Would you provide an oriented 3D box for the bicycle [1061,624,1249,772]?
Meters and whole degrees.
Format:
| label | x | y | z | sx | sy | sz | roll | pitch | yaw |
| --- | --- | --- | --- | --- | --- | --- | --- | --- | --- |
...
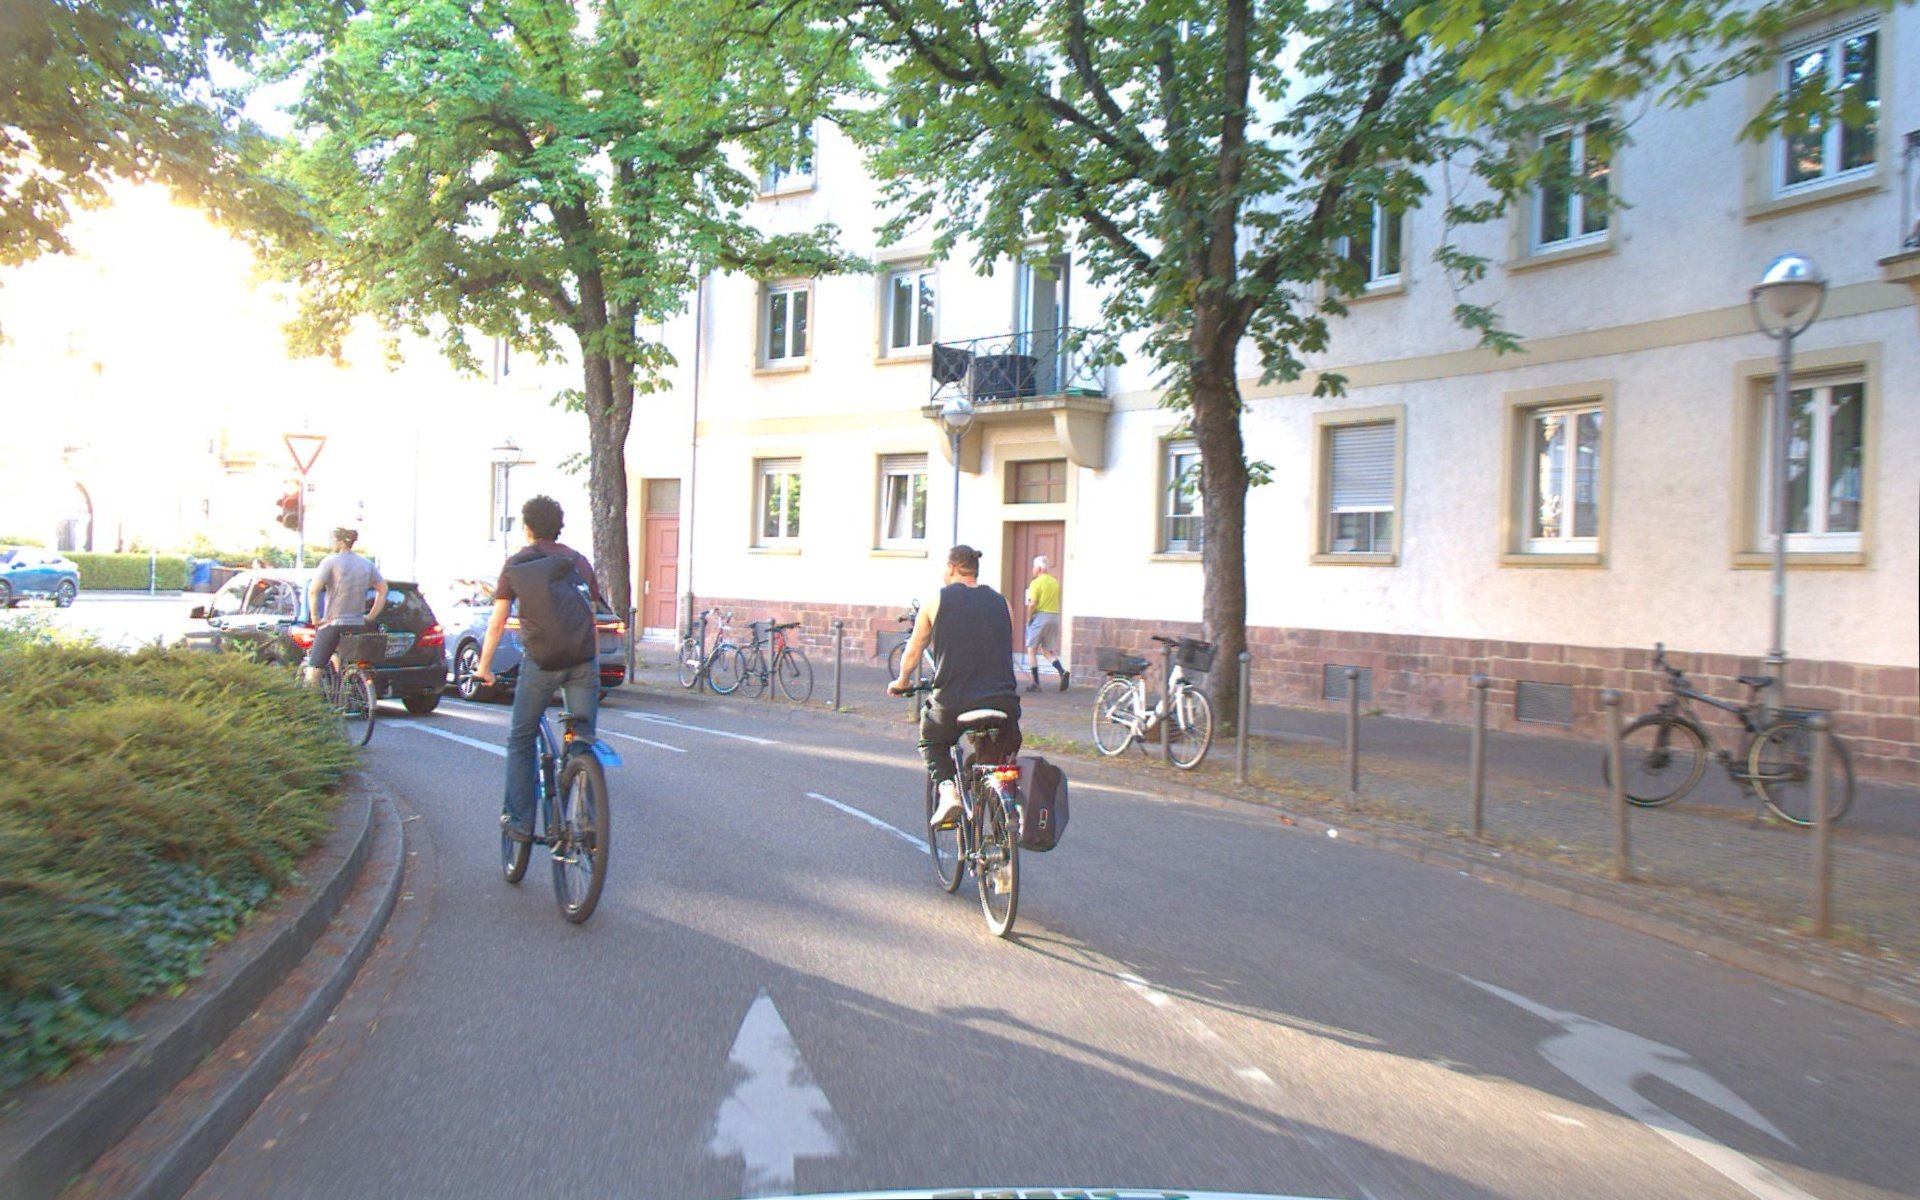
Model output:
| label | x | y | z | sx | sy | sz | roll | pitch | yaw |
| --- | --- | --- | --- | --- | --- | --- | --- | --- | --- |
| bicycle | 1.700 | 0.827 | 14.726 | 0.609 | 1.132 | 1.972 | -2 | 2 | -30 |

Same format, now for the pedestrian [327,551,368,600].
| label | x | y | z | sx | sy | sz | roll | pitch | yaw |
| --- | --- | --- | --- | --- | --- | --- | --- | --- | --- |
| pedestrian | -25.862 | -1.023 | 69.858 | 1.134 | 1.996 | 1.388 | 2 | 0 | 3 |

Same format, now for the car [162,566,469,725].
| label | x | y | z | sx | sy | sz | roll | pitch | yaw |
| --- | --- | --- | --- | --- | --- | --- | --- | --- | --- |
| car | -7.250 | 0.411 | 18.429 | 1.806 | 1.570 | 3.893 | -1 | 2 | -45 |

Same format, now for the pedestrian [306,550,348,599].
| label | x | y | z | sx | sy | sz | roll | pitch | yaw |
| --- | --- | --- | --- | --- | --- | --- | --- | --- | --- |
| pedestrian | -26.832 | -1.084 | 70.156 | 1.134 | 1.996 | 1.388 | 2 | 0 | 3 |

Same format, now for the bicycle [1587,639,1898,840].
| label | x | y | z | sx | sy | sz | roll | pitch | yaw |
| --- | --- | --- | --- | --- | --- | --- | --- | --- | --- |
| bicycle | 5.262 | 0.890 | 11.219 | 0.667 | 1.203 | 1.796 | -1 | 0 | -39 |

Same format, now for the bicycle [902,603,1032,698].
| label | x | y | z | sx | sy | sz | roll | pitch | yaw |
| --- | --- | --- | --- | --- | --- | --- | --- | --- | --- |
| bicycle | 0.061 | 0.644 | 21.909 | 0.577 | 1.133 | 2.090 | 1 | 1 | -36 |

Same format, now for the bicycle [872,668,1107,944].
| label | x | y | z | sx | sy | sz | roll | pitch | yaw |
| --- | --- | --- | --- | --- | --- | --- | --- | --- | --- |
| bicycle | 0.077 | 0.917 | 8.008 | 0.724 | 1.029 | 2.056 | 2 | 1 | -10 |

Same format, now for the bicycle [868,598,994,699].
| label | x | y | z | sx | sy | sz | roll | pitch | yaw |
| --- | --- | --- | --- | --- | --- | --- | --- | --- | --- |
| bicycle | -0.404 | 0.608 | 21.546 | 0.490 | 1.192 | 2.089 | -3 | 3 | -37 |

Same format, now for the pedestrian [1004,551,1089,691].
| label | x | y | z | sx | sy | sz | roll | pitch | yaw |
| --- | --- | --- | --- | --- | --- | --- | --- | --- | --- |
| pedestrian | 1.167 | 0.262 | 22.230 | 0.648 | 1.826 | 0.991 | 2 | 1 | 44 |

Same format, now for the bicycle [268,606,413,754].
| label | x | y | z | sx | sy | sz | roll | pitch | yaw |
| --- | --- | --- | --- | --- | --- | --- | --- | --- | --- |
| bicycle | -5.602 | 0.684 | 14.888 | 0.593 | 1.182 | 2.013 | 2 | 0 | -39 |

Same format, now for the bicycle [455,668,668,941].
| label | x | y | z | sx | sy | sz | roll | pitch | yaw |
| --- | --- | --- | --- | --- | --- | --- | --- | --- | --- |
| bicycle | -1.989 | 0.905 | 8.038 | 0.665 | 1.072 | 2.046 | 1 | -1 | -23 |

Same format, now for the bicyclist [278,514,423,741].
| label | x | y | z | sx | sy | sz | roll | pitch | yaw |
| --- | --- | --- | --- | --- | --- | --- | --- | --- | --- |
| bicyclist | -5.473 | 0.223 | 14.827 | 0.846 | 1.931 | 1.123 | 1 | 1 | -41 |

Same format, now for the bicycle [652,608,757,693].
| label | x | y | z | sx | sy | sz | roll | pitch | yaw |
| --- | --- | --- | --- | --- | --- | --- | --- | --- | --- |
| bicycle | -3.413 | 0.650 | 21.927 | 0.515 | 1.016 | 2.166 | 2 | 0 | -33 |

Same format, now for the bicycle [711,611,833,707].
| label | x | y | z | sx | sy | sz | roll | pitch | yaw |
| --- | --- | --- | --- | --- | --- | --- | --- | --- | --- |
| bicycle | -2.376 | 0.717 | 20.739 | 0.612 | 1.076 | 1.902 | -1 | 2 | -39 |

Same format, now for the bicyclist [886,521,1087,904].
| label | x | y | z | sx | sy | sz | roll | pitch | yaw |
| --- | --- | --- | --- | --- | --- | --- | --- | --- | --- |
| bicyclist | 0.104 | 0.506 | 7.899 | 0.739 | 1.711 | 0.911 | 2 | 0 | -11 |

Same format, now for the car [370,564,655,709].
| label | x | y | z | sx | sy | sz | roll | pitch | yaw |
| --- | --- | --- | --- | --- | --- | --- | --- | --- | --- |
| car | -5.777 | 0.406 | 21.103 | 1.882 | 1.605 | 3.938 | 2 | 1 | -43 |

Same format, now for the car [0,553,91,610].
| label | x | y | z | sx | sy | sz | roll | pitch | yaw |
| --- | --- | --- | --- | --- | --- | --- | --- | --- | --- |
| car | -26.070 | -0.526 | 45.137 | 1.951 | 1.522 | 4.378 | 2 | 0 | 8 |

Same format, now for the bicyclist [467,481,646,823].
| label | x | y | z | sx | sy | sz | roll | pitch | yaw |
| --- | --- | --- | --- | --- | --- | --- | --- | --- | --- |
| bicyclist | -1.988 | 0.235 | 8.074 | 0.662 | 1.541 | 1.061 | 1 | 0 | -24 |
